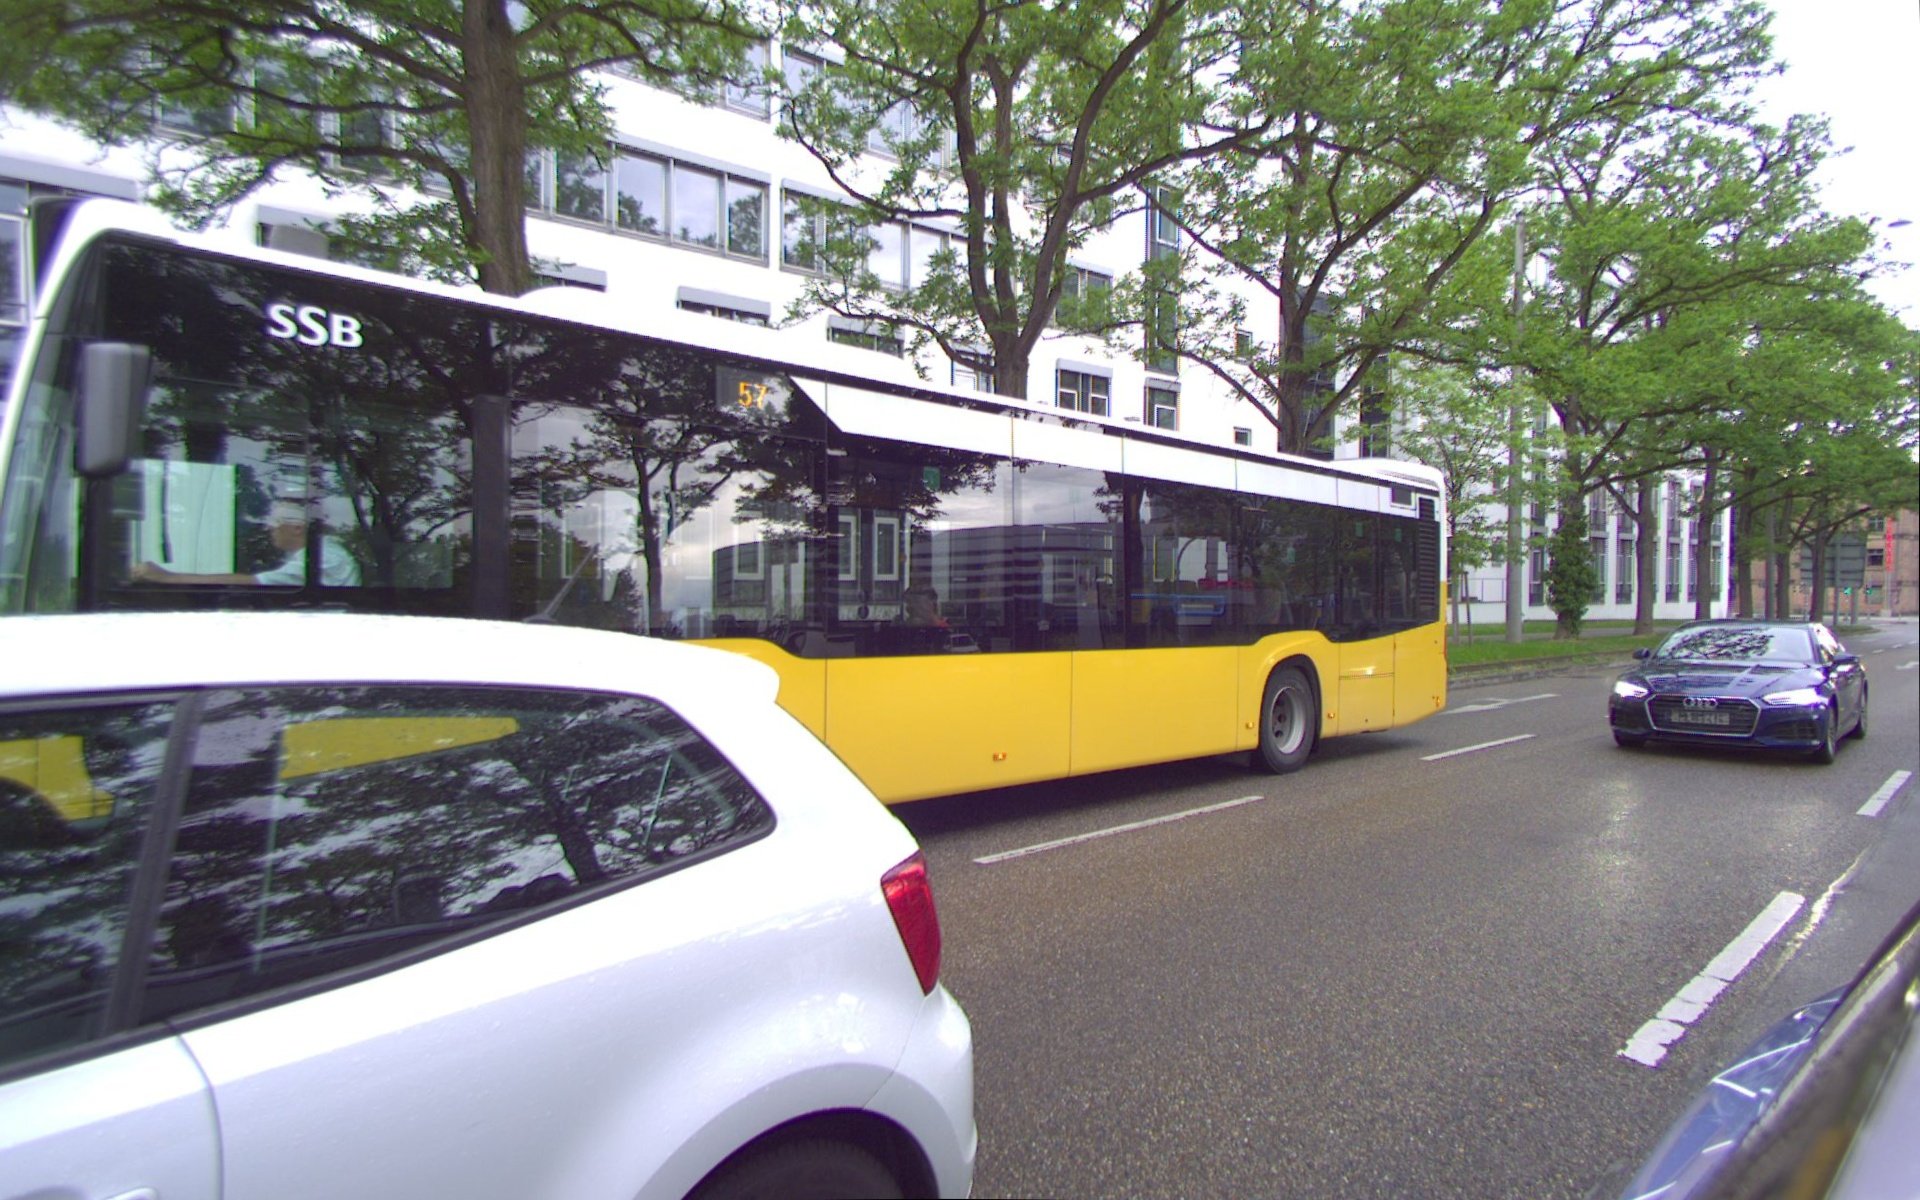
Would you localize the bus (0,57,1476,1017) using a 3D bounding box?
[{"bbox_3d":[0.283,-0.169,8.235,11.933,3.192,2.731,1,-1,-41],"label":"bus"}]

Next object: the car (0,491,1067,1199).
[{"bbox_3d":[-1.766,0.630,1.436,3.746,1.450,1.743,-1,0,-41],"label":"car"}]

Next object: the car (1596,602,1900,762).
[{"bbox_3d":[8.796,0.749,11.169,4.257,1.371,1.876,-1,0,-41],"label":"car"}]
